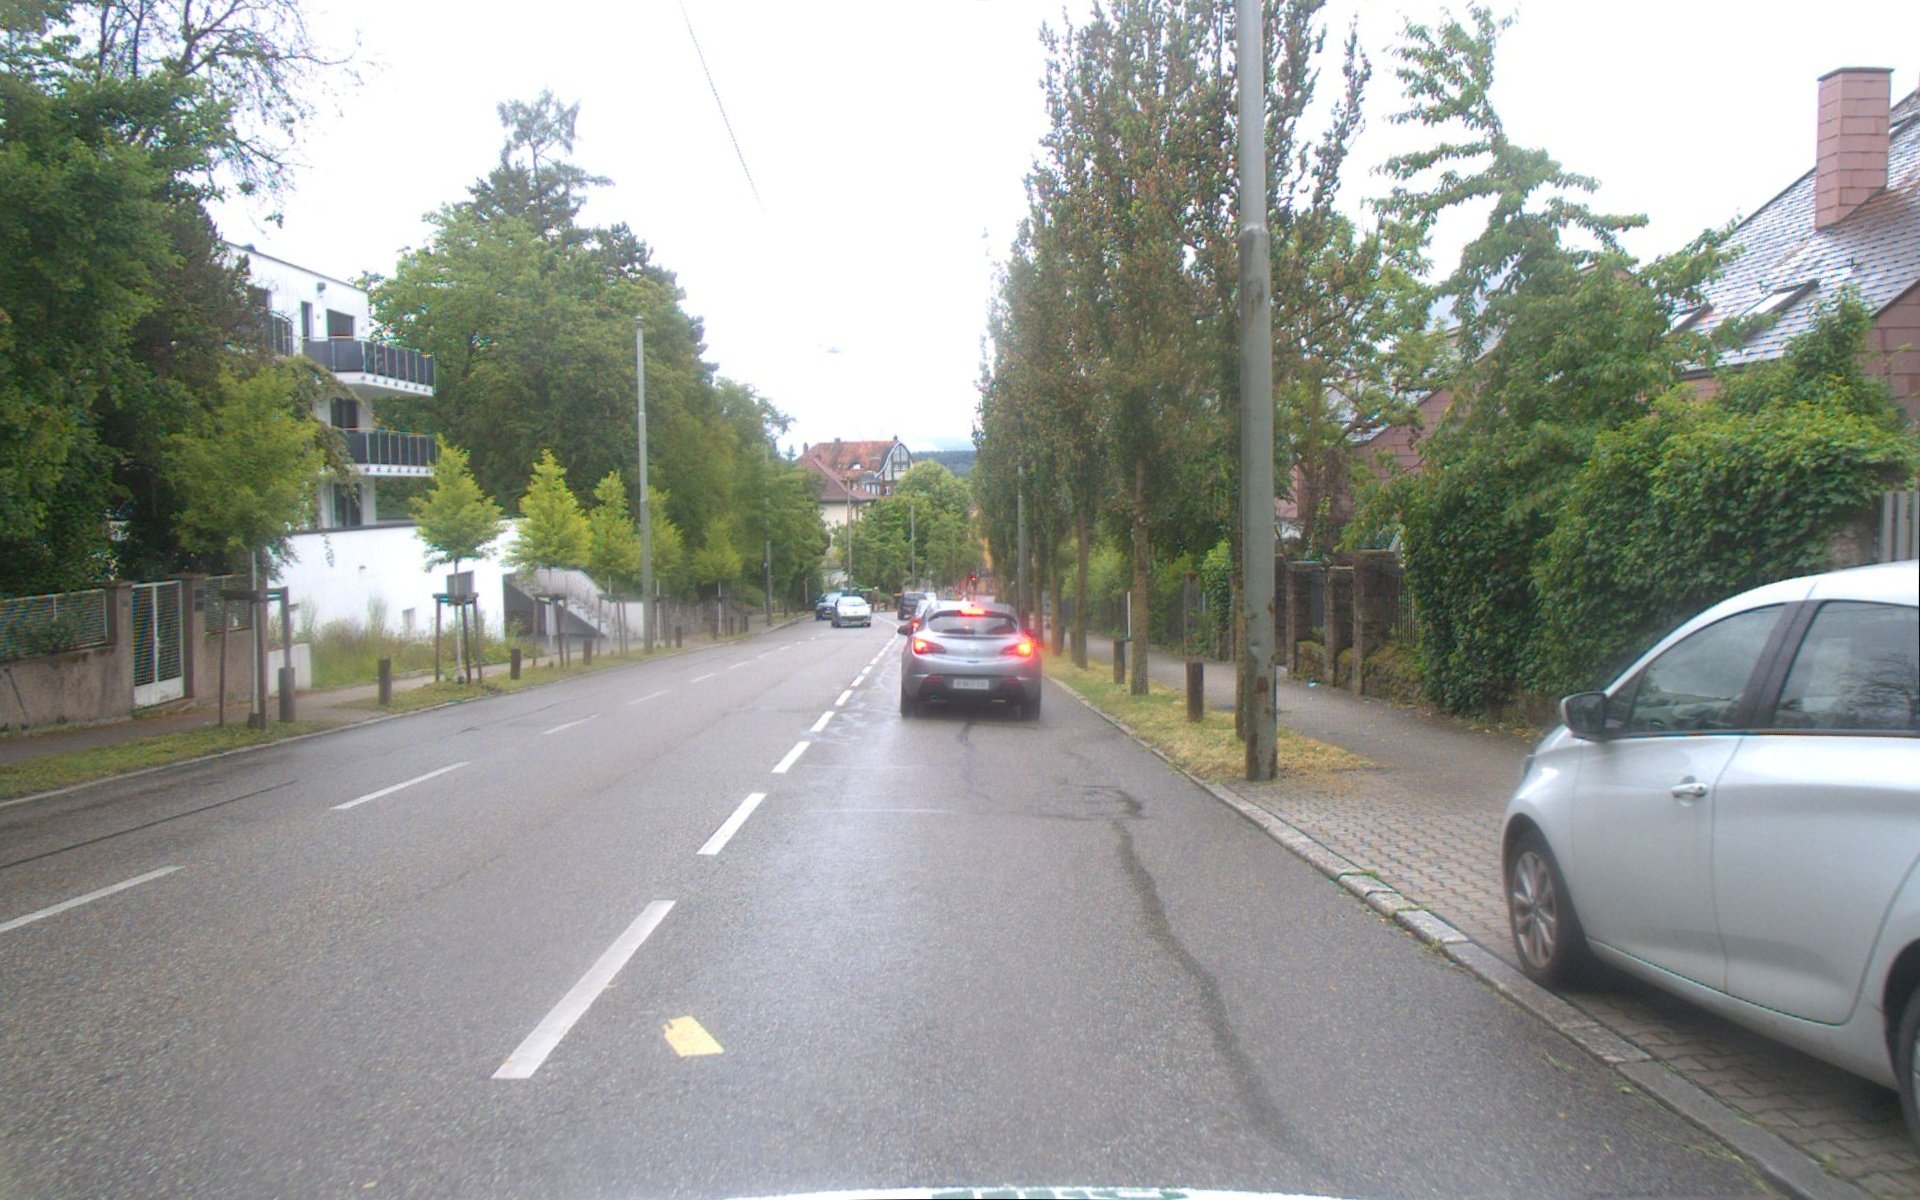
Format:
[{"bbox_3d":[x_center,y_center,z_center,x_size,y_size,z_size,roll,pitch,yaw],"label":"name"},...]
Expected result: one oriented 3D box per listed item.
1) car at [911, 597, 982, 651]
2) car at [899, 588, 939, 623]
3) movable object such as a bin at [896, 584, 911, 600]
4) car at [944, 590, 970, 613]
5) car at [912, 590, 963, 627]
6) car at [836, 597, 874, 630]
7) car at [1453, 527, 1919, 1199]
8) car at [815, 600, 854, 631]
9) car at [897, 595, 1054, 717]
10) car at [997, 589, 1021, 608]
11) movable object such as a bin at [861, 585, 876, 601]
[{"bbox_3d":[-0.306,0.602,43.489,1.760,1.346,4.000,1,0,1],"label":"car"},{"bbox_3d":[-2.231,0.273,91.137,1.731,1.812,3.979,2,1,4],"label":"car"},{"bbox_3d":[-5.019,-0.723,146.736,1.245,1.411,0.489,1,1,4],"label":"movable object such as a bin"},{"bbox_3d":[-0.210,0.120,133.533,1.717,1.679,4.002,2,0,4],"label":"car"},{"bbox_3d":[-0.976,0.364,74.216,1.920,1.497,3.953,2,1,4],"label":"car"},{"bbox_3d":[-5.149,0.650,81.215,1.726,1.512,3.998,-2,0,-3],"label":"car"},{"bbox_3d":[3.153,0.613,5.222,1.788,1.658,3.998,-3,0,-3],"label":"car"},{"bbox_3d":[-7.054,0.853,93.252,1.709,1.576,3.918,-4,0,1],"label":"car"},{"bbox_3d":[0.158,0.697,22.228,1.906,1.457,3.883,1,0,-1],"label":"car"},{"bbox_3d":[5.671,-0.195,190.512,2.285,2.071,4.739,2,1,6],"label":"car"},{"bbox_3d":[-8.444,-0.635,152.688,1.245,1.411,0.489,1,1,4],"label":"movable object such as a bin"}]
